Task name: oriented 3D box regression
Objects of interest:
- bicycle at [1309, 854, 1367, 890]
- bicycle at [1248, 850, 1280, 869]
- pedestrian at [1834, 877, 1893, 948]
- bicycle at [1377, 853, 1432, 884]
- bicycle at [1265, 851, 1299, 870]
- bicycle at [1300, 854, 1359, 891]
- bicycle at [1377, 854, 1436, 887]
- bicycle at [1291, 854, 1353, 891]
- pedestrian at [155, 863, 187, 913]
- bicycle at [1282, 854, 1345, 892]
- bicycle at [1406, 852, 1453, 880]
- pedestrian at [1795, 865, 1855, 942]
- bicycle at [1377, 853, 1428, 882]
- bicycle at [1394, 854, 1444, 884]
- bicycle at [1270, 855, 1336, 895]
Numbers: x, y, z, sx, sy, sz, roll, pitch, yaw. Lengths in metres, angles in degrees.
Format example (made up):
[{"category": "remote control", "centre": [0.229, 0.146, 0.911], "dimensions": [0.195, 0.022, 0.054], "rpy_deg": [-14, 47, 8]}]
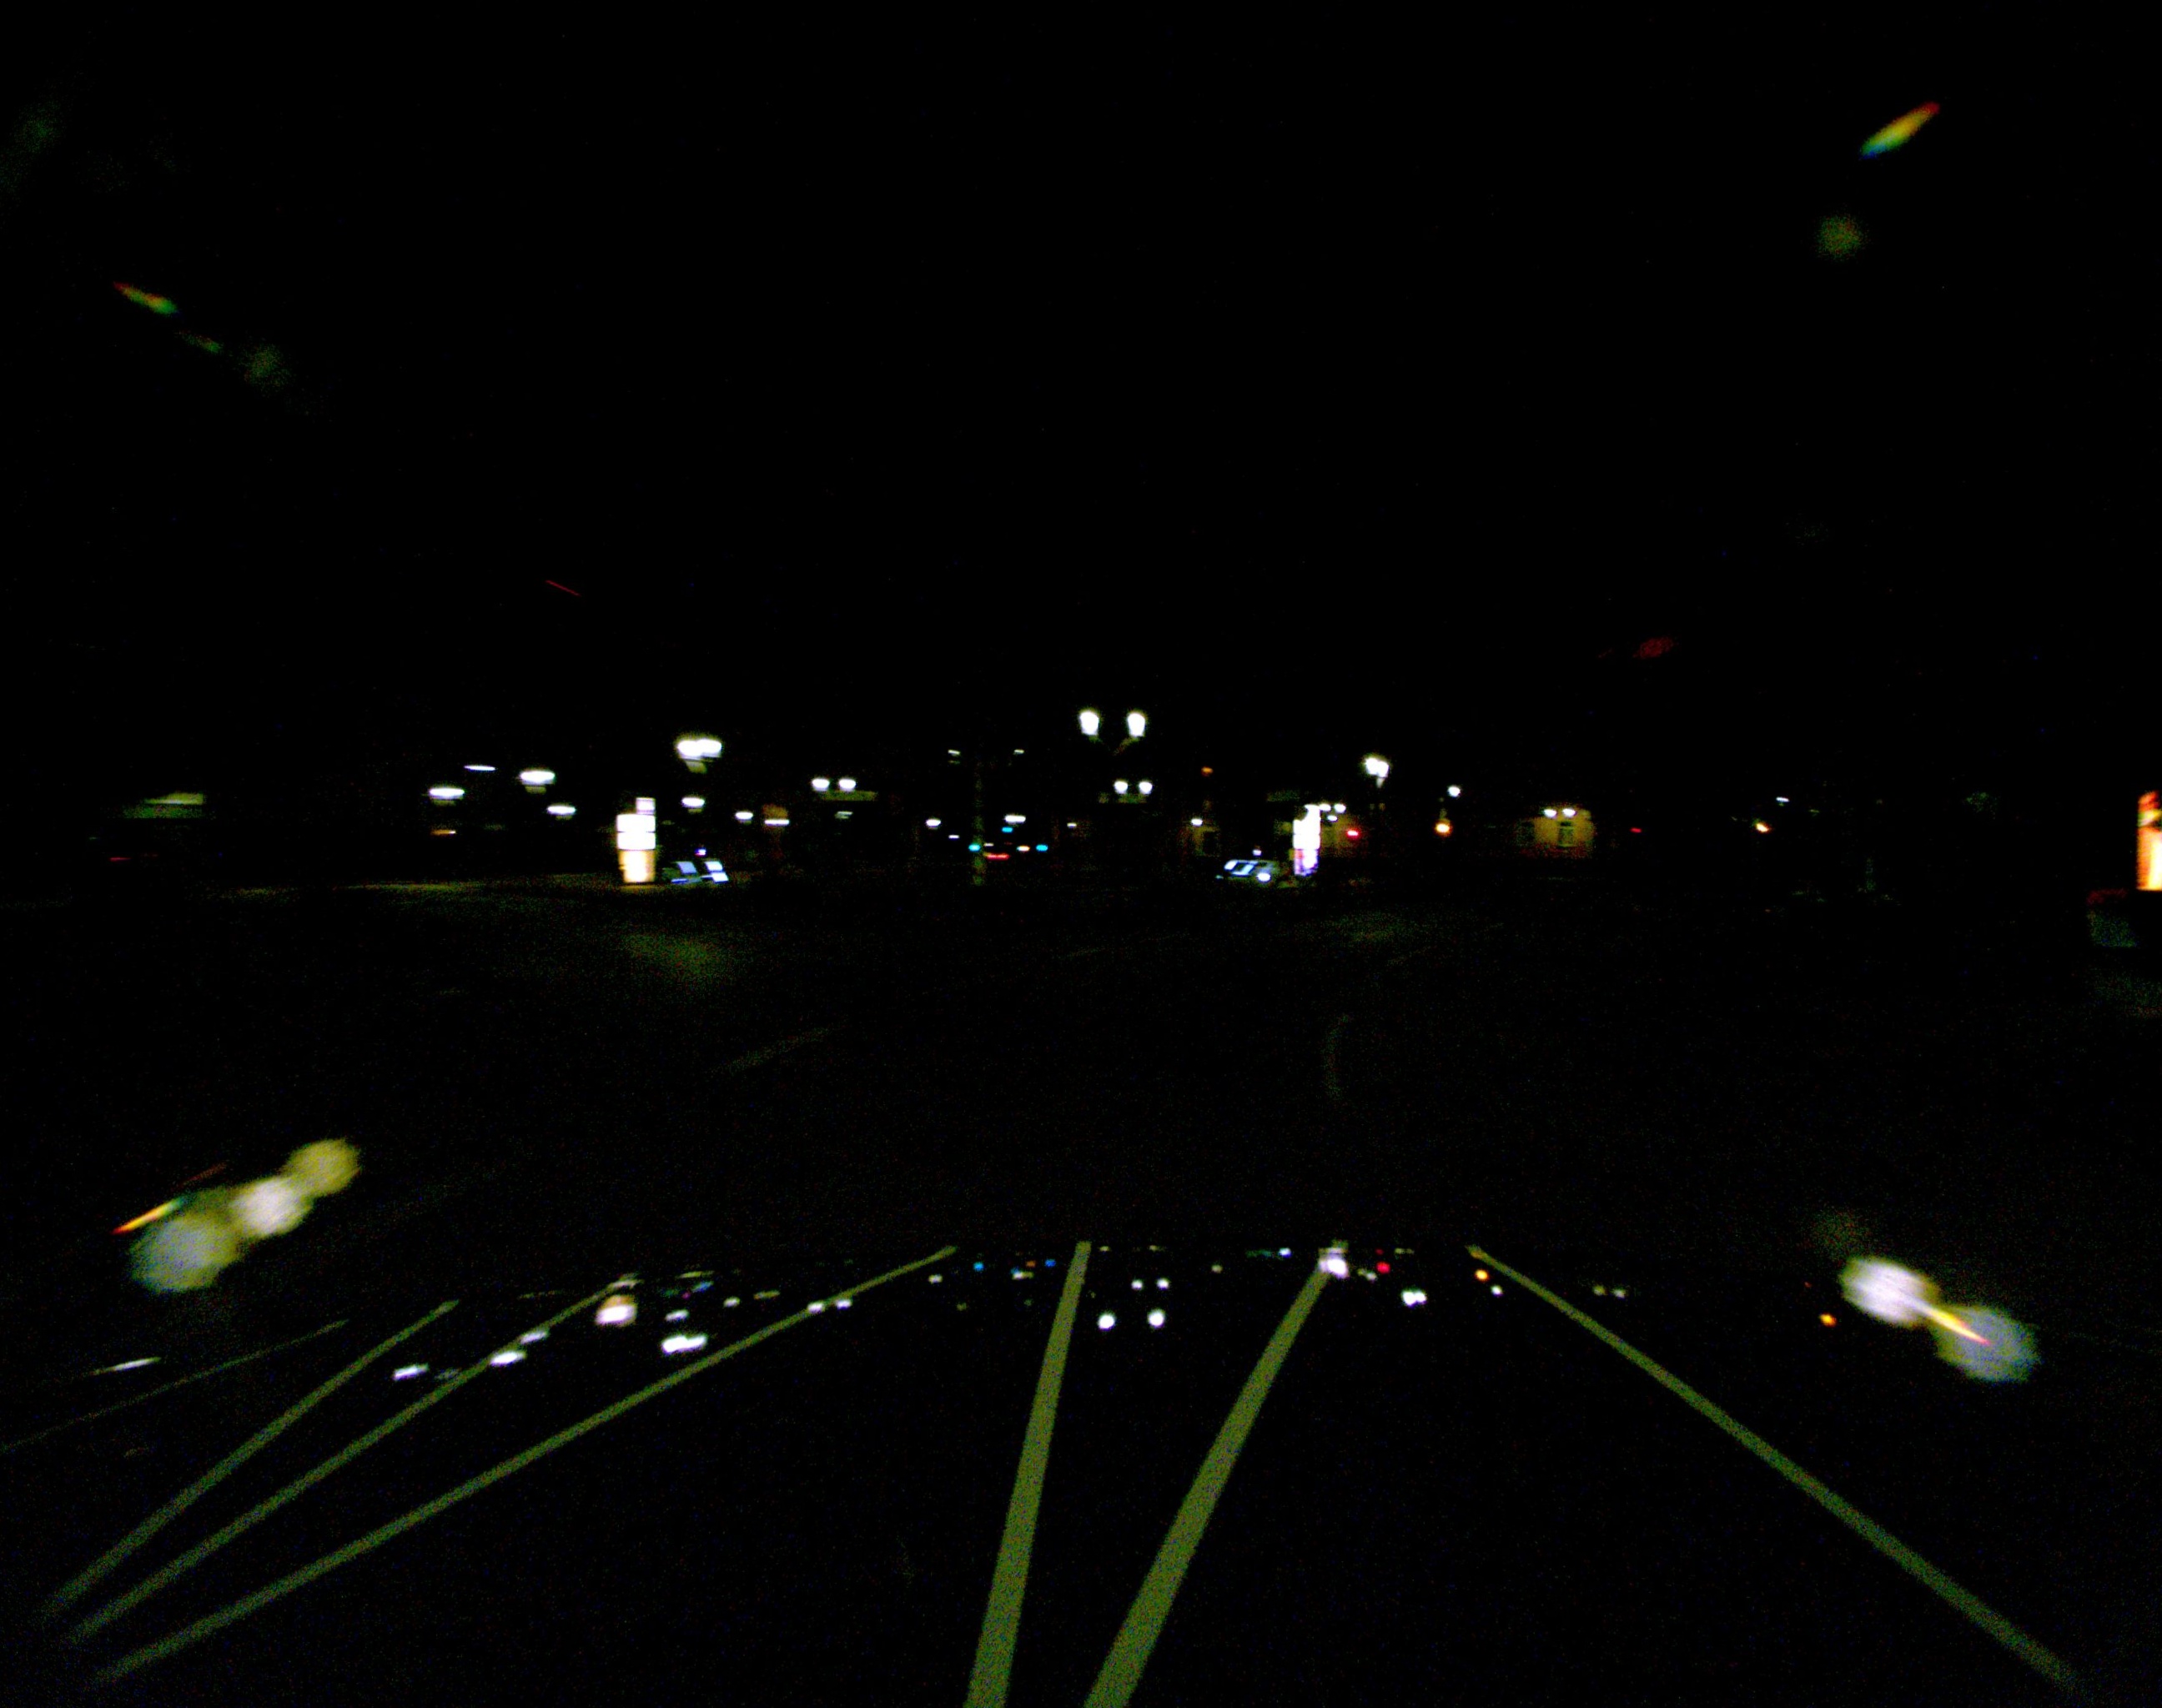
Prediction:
[{"category": "bicycle", "centre": [8.601, 0.580, 25.465], "dimensions": [1.772, 1.144, 0.583], "rpy_deg": [1, 1, 42]}, {"category": "bicycle", "centre": [11.246, 0.337, 46.590], "dimensions": [1.804, 1.121, 0.649], "rpy_deg": [0, 1, -13]}, {"category": "pedestrian", "centre": [13.649, 1.004, 13.269], "dimensions": [0.575, 1.157, 0.679], "rpy_deg": [1, 1, 34]}, {"category": "bicycle", "centre": [12.314, 0.552, 28.946], "dimensions": [1.788, 1.128, 0.630], "rpy_deg": [1, 1, 36]}, {"category": "bicycle", "centre": [11.658, 0.369, 44.040], "dimensions": [1.804, 1.121, 0.649], "rpy_deg": [0, 1, -13]}, {"category": "bicycle", "centre": [8.163, 0.593, 25.006], "dimensions": [1.772, 1.144, 0.583], "rpy_deg": [1, 1, 43]}, {"category": "bicycle", "centre": [11.857, 0.587, 27.714], "dimensions": [1.865, 1.128, 0.727], "rpy_deg": [1, 1, 36]}, {"category": "bicycle", "centre": [7.738, 0.579, 24.435], "dimensions": [1.772, 1.144, 0.583], "rpy_deg": [1, 1, 36]}, {"category": "pedestrian", "centre": [-23.890, 0.877, 19.959], "dimensions": [0.465, 1.292, 0.516], "rpy_deg": [1, 2, 41]}, {"category": "bicycle", "centre": [7.284, 0.573, 23.807], "dimensions": [1.772, 1.144, 0.615], "rpy_deg": [1, 1, 36]}, {"category": "bicycle", "centre": [14.743, 0.512, 32.165], "dimensions": [1.655, 1.134, 0.829], "rpy_deg": [1, 1, 37]}, {"category": "pedestrian", "centre": [13.778, 0.892, 14.090], "dimensions": [0.676, 1.370, 0.577], "rpy_deg": [1, 2, 34]}, {"category": "bicycle", "centre": [13.089, 0.529, 30.939], "dimensions": [1.770, 1.134, 0.688], "rpy_deg": [1, 1, 37]}, {"category": "bicycle", "centre": [13.113, 0.557, 29.528], "dimensions": [1.655, 1.128, 0.644], "rpy_deg": [1, 1, 37]}, {"category": "bicycle", "centre": [6.770, 0.621, 23.178], "dimensions": [1.783, 1.144, 0.761], "rpy_deg": [1, 1, 36]}]
